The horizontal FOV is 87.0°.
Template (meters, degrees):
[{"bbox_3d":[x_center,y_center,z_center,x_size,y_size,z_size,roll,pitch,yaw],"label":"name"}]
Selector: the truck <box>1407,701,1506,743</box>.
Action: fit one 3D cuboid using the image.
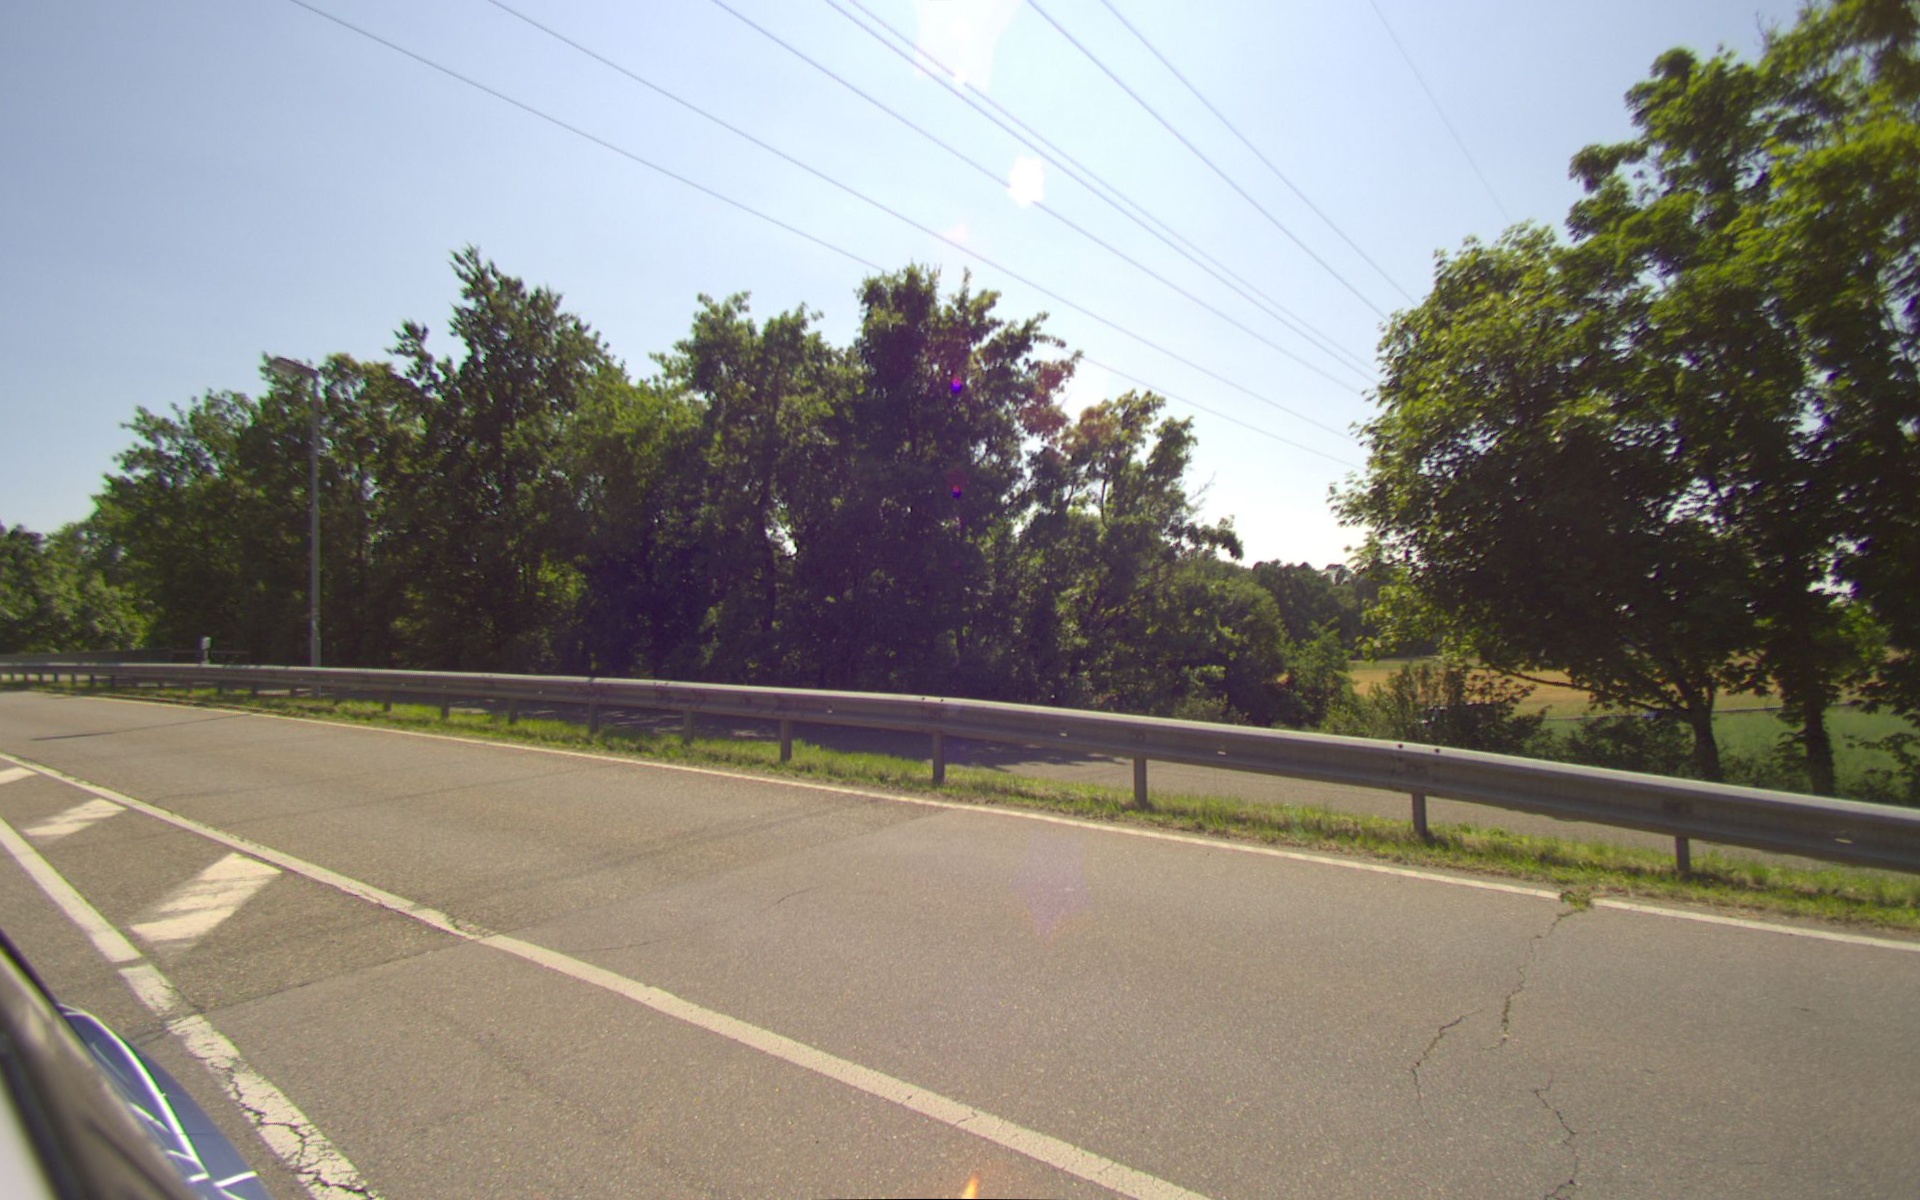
[{"bbox_3d":[35.048,8.569,71.443,6.418,2.342,2.006,-2,0,-15],"label":"truck"}]
